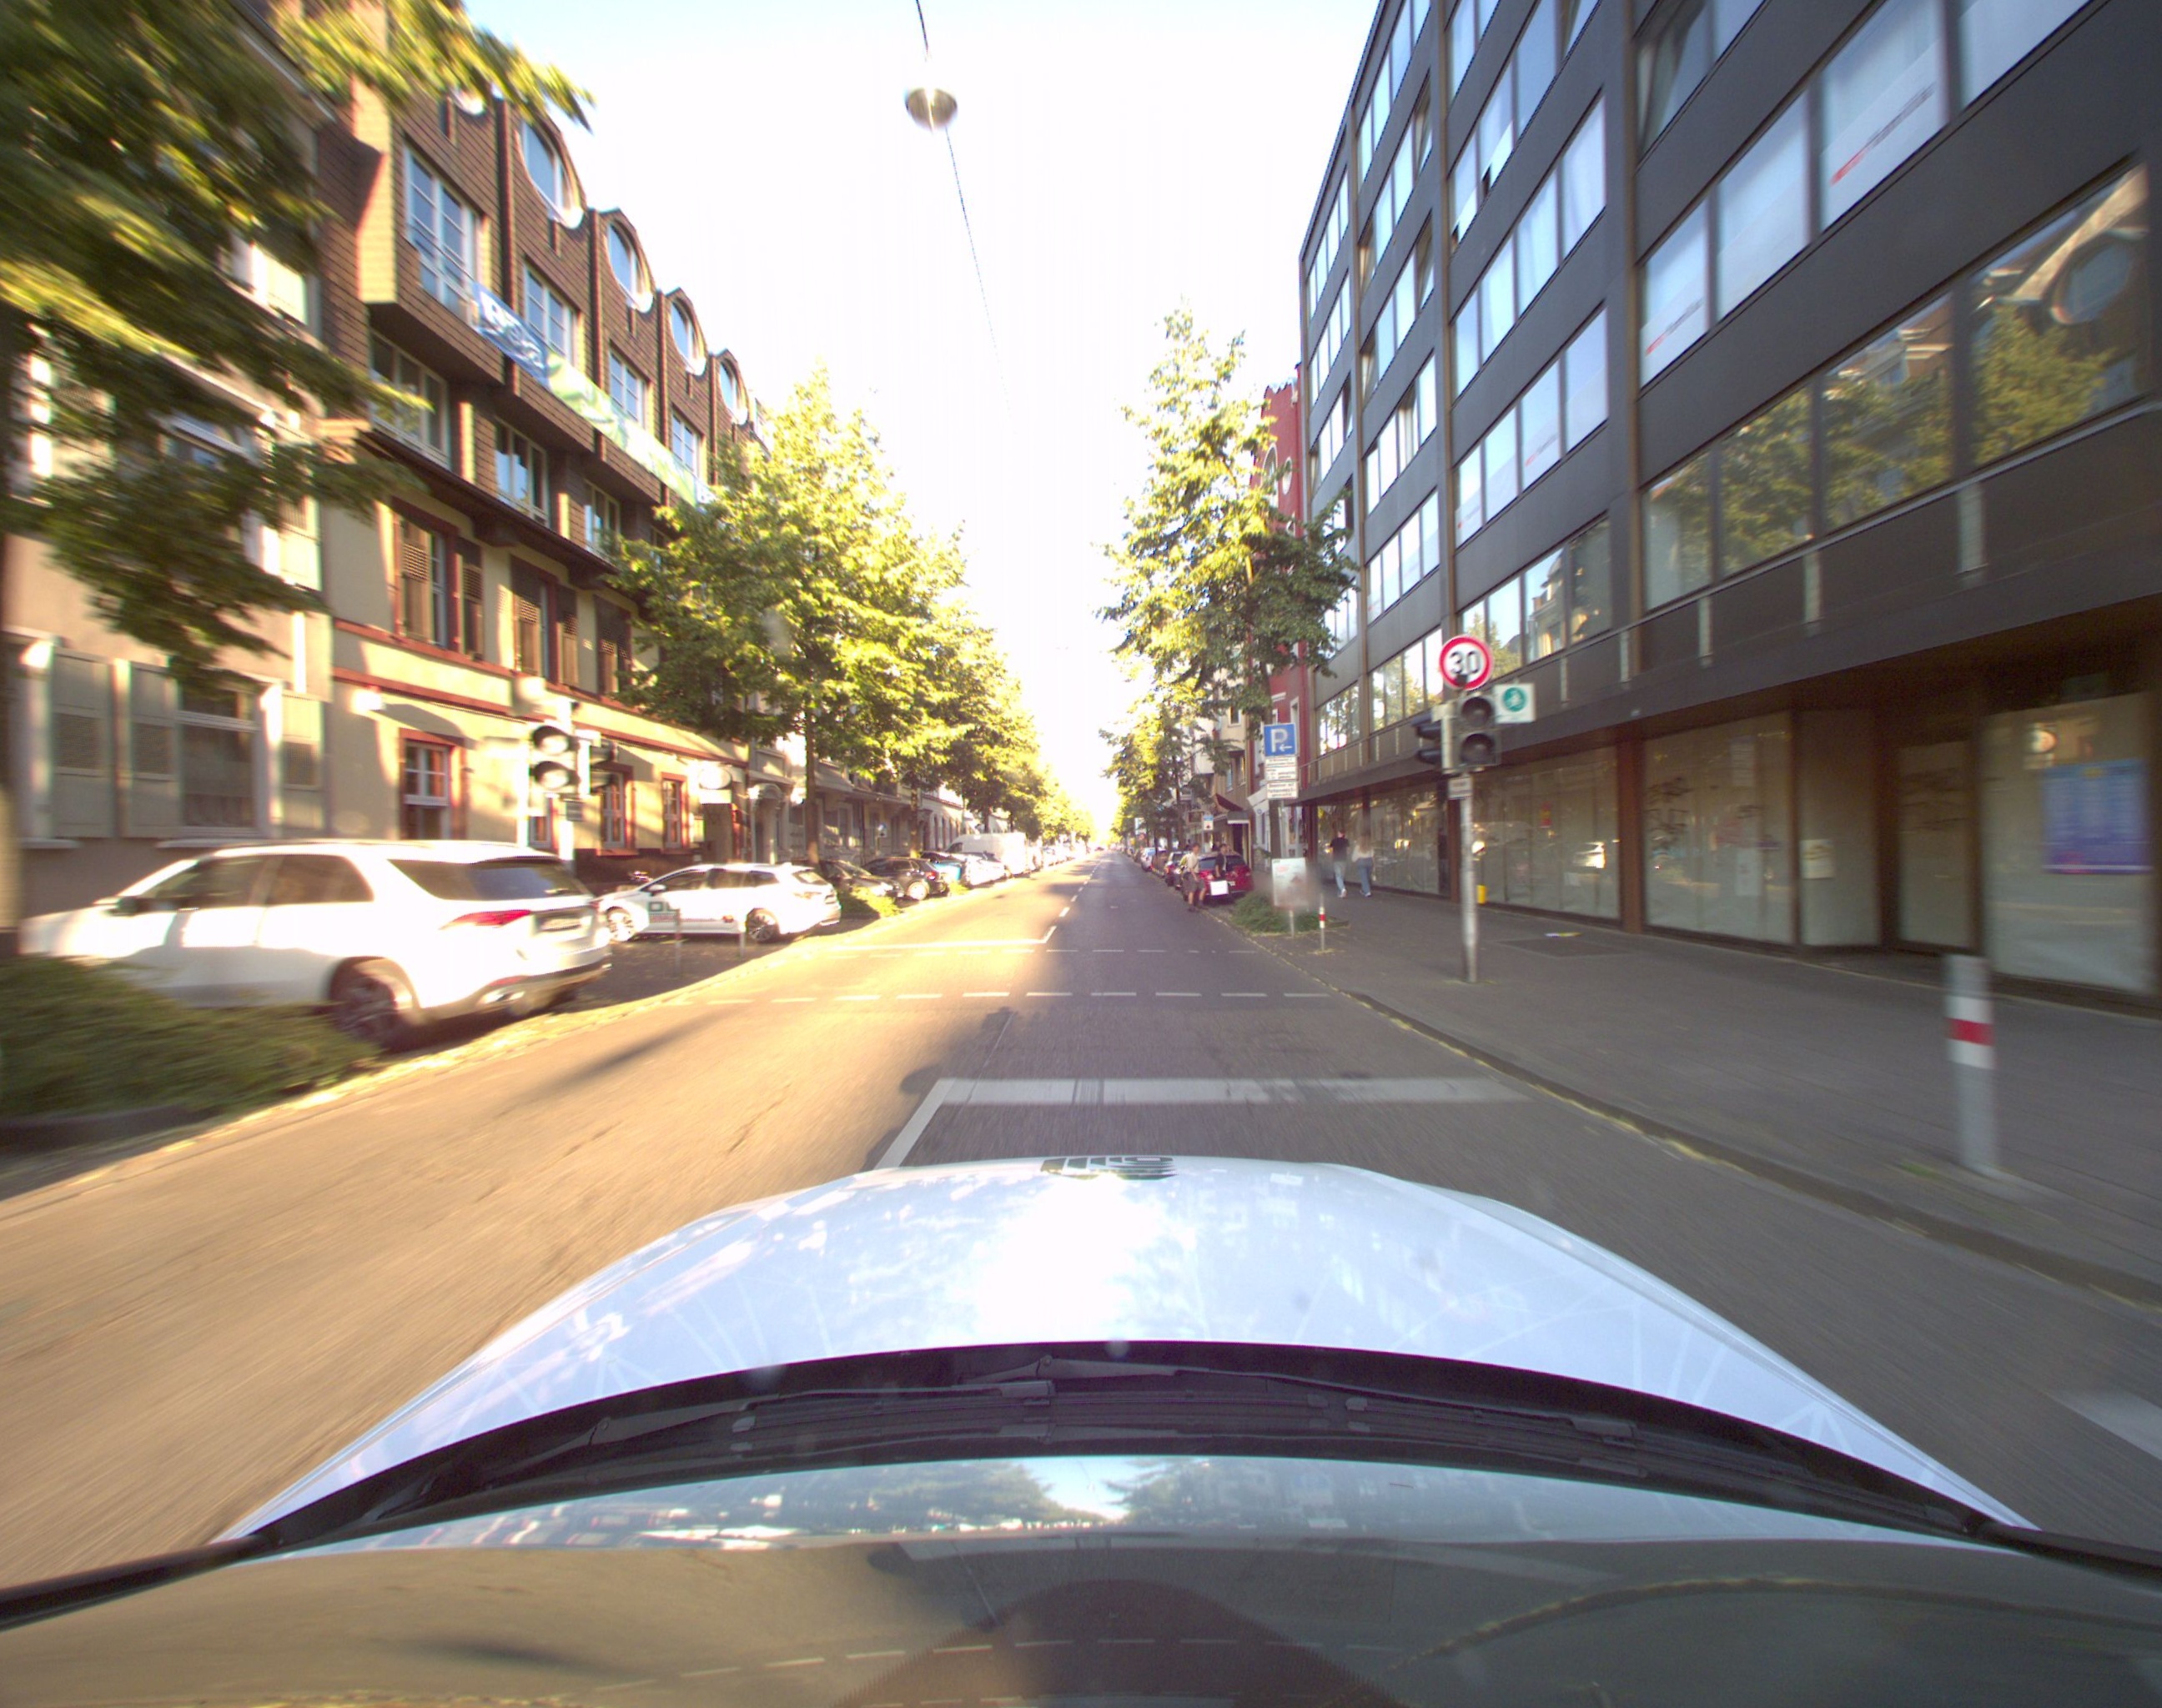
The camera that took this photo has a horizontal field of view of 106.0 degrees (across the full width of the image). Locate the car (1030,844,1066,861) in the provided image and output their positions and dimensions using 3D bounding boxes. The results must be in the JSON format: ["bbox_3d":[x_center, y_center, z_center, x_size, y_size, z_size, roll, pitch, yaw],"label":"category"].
[{"bbox_3d":[-3.550,-0.173,87.609,3.726,1.708,2.001,0,1,1],"label":"car"}]

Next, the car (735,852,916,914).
[{"bbox_3d":[-7.134,0.784,23.072,4.410,1.599,2.001,-1,0,1],"label":"car"}]

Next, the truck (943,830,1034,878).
[{"bbox_3d":[-5.283,-0.027,47.030,4.923,2.615,2.001,-1,0,1],"label":"truck"}]

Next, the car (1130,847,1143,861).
[{"bbox_3d":[6.214,0.001,91.490,1.305,1.600,2.660,0,0,-1],"label":"car"}]

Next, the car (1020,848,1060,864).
[{"bbox_3d":[-4.020,0.186,79.801,3.726,1.492,2.001,-1,0,1],"label":"car"}]

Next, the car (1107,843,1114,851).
[{"bbox_3d":[7.554,-1.698,208.910,1.573,2.013,3.109,0,1,-5],"label":"car"}]

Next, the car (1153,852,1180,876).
[{"bbox_3d":[4.763,0.525,45.794,1.203,1.300,2.660,0,0,-1],"label":"car"}]

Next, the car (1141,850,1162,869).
[{"bbox_3d":[4.822,0.374,56.047,1.203,1.300,2.660,0,0,-1],"label":"car"}]

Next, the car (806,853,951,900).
[{"bbox_3d":[-6.904,0.750,28.077,4.410,1.503,2.001,-1,0,1],"label":"car"}]

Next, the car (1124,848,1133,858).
[{"bbox_3d":[7.532,-0.156,128.825,1.305,1.600,2.660,0,0,-1],"label":"car"}]

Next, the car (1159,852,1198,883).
[{"bbox_3d":[4.272,0.575,35.866,1.300,1.293,3.013,1,0,-1],"label":"car"}]

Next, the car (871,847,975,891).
[{"bbox_3d":[-6.283,0.594,32.780,3.726,1.642,2.001,-1,0,1],"label":"car"}]

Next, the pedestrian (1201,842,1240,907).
[{"bbox_3d":[3.717,0.525,21.718,0.727,1.683,0.749,-1,1,-38],"label":"pedestrian"}]

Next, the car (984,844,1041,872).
[{"bbox_3d":[-4.788,0.272,57.391,3.726,1.858,2.001,-1,0,1],"label":"car"}]

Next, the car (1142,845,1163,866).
[{"bbox_3d":[5.534,0.130,63.243,1.305,1.600,2.660,0,0,-1],"label":"car"}]

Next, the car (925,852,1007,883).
[{"bbox_3d":[-5.691,0.663,40.616,3.726,1.449,2.001,-1,0,1],"label":"car"}]

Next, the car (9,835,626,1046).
[{"bbox_3d":[-6.736,0.696,7.551,3.975,1.708,1.834,0,1,1],"label":"car"}]

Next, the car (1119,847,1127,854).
[{"bbox_3d":[9.602,-0.796,185.753,1.571,1.579,3.114,0,1,0],"label":"car"}]

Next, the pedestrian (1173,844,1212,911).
[{"bbox_3d":[2.872,0.583,21.003,0.720,1.673,0.702,-1,1,-38],"label":"pedestrian"}]

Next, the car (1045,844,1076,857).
[{"bbox_3d":[-2.595,-0.456,103.495,3.726,1.708,2.001,0,1,1],"label":"car"}]

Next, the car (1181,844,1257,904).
[{"bbox_3d":[4.007,0.528,24.161,1.572,1.542,3.396,-3,1,-1],"label":"car"}]

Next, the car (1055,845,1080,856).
[{"bbox_3d":[-2.039,-0.533,122.238,3.726,1.708,2.001,0,1,1],"label":"car"}]

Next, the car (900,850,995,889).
[{"bbox_3d":[-5.787,0.648,35.566,3.726,1.596,2.001,-1,0,1],"label":"car"}]

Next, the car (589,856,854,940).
[{"bbox_3d":[-6.750,0.795,15.651,4.160,1.507,2.001,0,0,1],"label":"car"}]

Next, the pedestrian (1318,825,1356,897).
[{"bbox_3d":[6.836,0.175,21.800,0.712,1.865,0.679,-3,1,-1],"label":"pedestrian"}]

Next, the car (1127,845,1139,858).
[{"bbox_3d":[6.778,-0.311,105.760,1.305,1.600,2.660,0,0,-1],"label":"car"}]

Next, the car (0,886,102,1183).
[{"bbox_3d":[-7.362,0.918,3.532,4.017,1.443,1.831,0,1,1],"label":"car"}]

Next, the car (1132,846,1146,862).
[{"bbox_3d":[6.239,0.016,87.379,1.305,1.600,2.660,0,0,-1],"label":"car"}]

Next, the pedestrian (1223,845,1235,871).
[{"bbox_3d":[7.752,0.209,42.732,0.532,1.360,0.534,0,1,2],"label":"pedestrian"}]

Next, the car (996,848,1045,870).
[{"bbox_3d":[-4.614,0.364,62.879,3.573,1.595,1.701,-1,0,1],"label":"car"}]

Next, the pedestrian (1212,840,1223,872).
[{"bbox_3d":[7.096,0.110,42.337,0.532,1.622,0.534,0,1,2],"label":"pedestrian"}]

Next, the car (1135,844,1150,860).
[{"bbox_3d":[6.208,-0.162,82.259,1.305,1.600,2.660,0,0,-1],"label":"car"}]

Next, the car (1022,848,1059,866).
[{"bbox_3d":[-4.163,0.279,84.124,3.726,1.708,2.001,-1,0,1],"label":"car"}]

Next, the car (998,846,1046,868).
[{"bbox_3d":[-4.876,0.241,67.944,3.726,1.708,2.001,-1,0,1],"label":"car"}]

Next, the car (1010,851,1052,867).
[{"bbox_3d":[-4.580,0.446,75.098,3.726,1.449,2.001,-1,0,1],"label":"car"}]

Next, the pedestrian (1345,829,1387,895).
[{"bbox_3d":[7.604,0.212,21.737,0.763,1.688,0.786,-4,1,-1],"label":"pedestrian"}]

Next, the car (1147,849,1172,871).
[{"bbox_3d":[4.734,0.355,49.254,1.203,1.300,2.660,0,0,-1],"label":"car"}]

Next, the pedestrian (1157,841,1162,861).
[{"bbox_3d":[7.799,-0.313,81.235,0.447,2.013,0.424,0,1,1],"label":"pedestrian"}]

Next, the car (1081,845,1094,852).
[{"bbox_3d":[1.744,-1.456,216.939,3.076,2.013,1.590,0,1,25],"label":"car"}]
